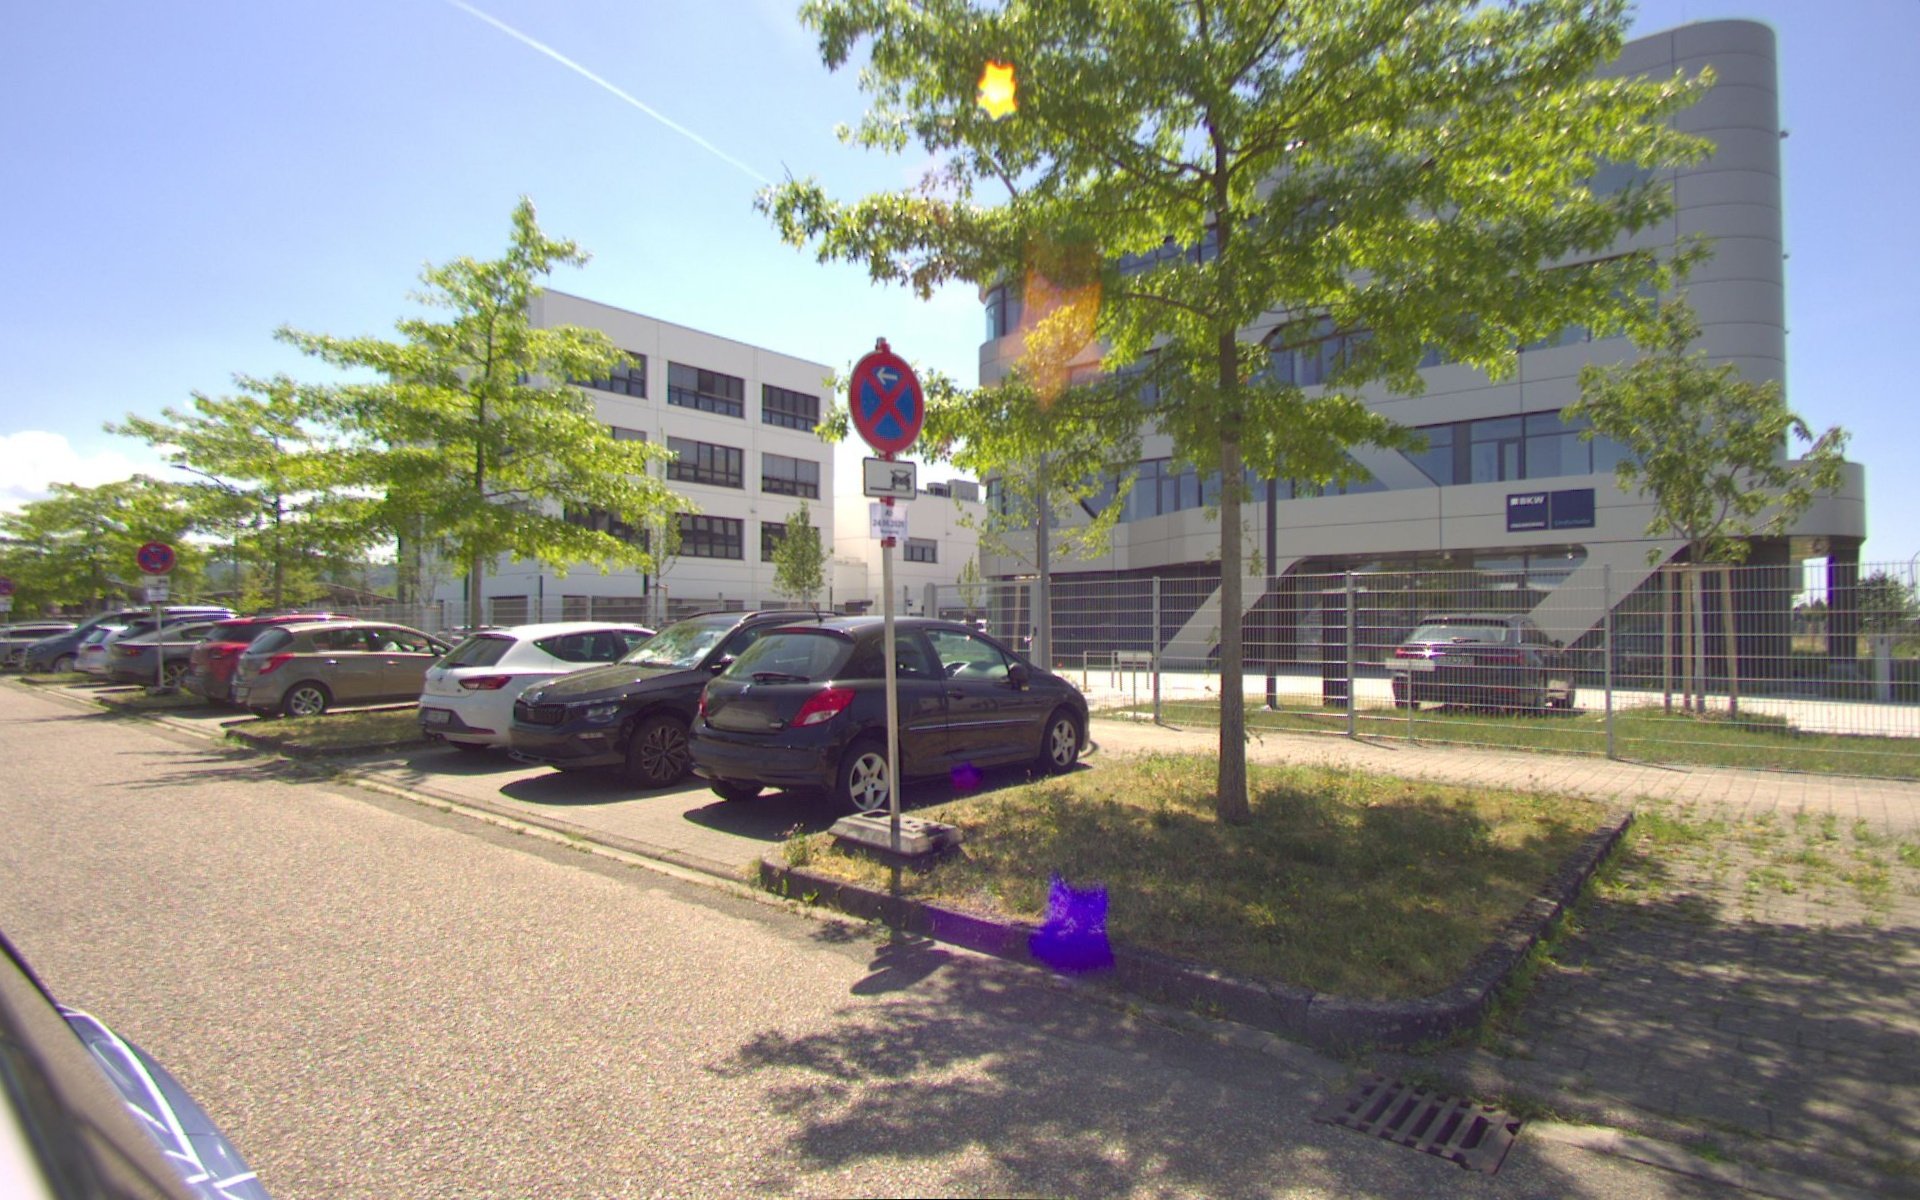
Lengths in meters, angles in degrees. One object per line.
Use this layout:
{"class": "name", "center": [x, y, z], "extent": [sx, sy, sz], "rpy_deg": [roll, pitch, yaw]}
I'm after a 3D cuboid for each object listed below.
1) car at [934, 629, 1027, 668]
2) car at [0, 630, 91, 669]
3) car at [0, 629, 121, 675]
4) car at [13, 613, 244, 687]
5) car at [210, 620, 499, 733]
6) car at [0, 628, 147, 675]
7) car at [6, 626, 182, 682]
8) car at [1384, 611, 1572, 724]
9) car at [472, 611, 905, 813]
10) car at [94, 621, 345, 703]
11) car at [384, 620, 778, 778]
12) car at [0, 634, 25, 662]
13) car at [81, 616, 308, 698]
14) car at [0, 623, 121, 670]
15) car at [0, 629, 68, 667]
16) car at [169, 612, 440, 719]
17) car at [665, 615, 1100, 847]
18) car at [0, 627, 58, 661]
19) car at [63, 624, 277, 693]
{"class": "car", "center": [0.928, 2.236, 46.910], "extent": [3.997, 1.730, 1.973], "rpy_deg": [-2, -3, 41]}
{"class": "car", "center": [-39.978, 2.136, 43.260], "extent": [1.806, 1.524, 4.127], "rpy_deg": [-3, -1, 42]}
{"class": "car", "center": [-33.701, 1.900, 37.089], "extent": [1.725, 1.484, 4.269], "rpy_deg": [-2, -1, 38]}
{"class": "car", "center": [-24.324, 1.398, 29.764], "extent": [1.996, 1.906, 5.016], "rpy_deg": [-2, -1, 42]}
{"class": "car", "center": [-9.644, 1.135, 16.335], "extent": [1.728, 1.520, 3.623], "rpy_deg": [-2, -1, 37]}
{"class": "car", "center": [-31.800, 1.799, 35.657], "extent": [1.856, 1.458, 4.666], "rpy_deg": [-2, -1, 39]}
{"class": "car", "center": [-26.647, 1.616, 31.232], "extent": [1.763, 1.495, 3.928], "rpy_deg": [-2, 0, 41]}
{"class": "car", "center": [7.493, 0.939, 14.501], "extent": [1.676, 1.401, 3.444], "rpy_deg": [-2, -4, 40]}
{"class": "car", "center": [-2.538, 0.930, 10.184], "extent": [1.783, 1.532, 3.888], "rpy_deg": [-1, 0, 40]}
{"class": "car", "center": [-16.106, 1.281, 22.181], "extent": [1.712, 1.491, 4.150], "rpy_deg": [-2, 0, 41]}
{"class": "car", "center": [-4.318, 1.018, 12.070], "extent": [1.870, 1.435, 4.038], "rpy_deg": [-1, 0, 37]}
{"class": "car", "center": [-50.908, 2.545, 52.409], "extent": [1.726, 1.452, 3.469], "rpy_deg": [-2, -1, 40]}
{"class": "car", "center": [-18.126, 1.286, 24.123], "extent": [1.773, 1.691, 3.952], "rpy_deg": [-2, 0, 36]}
{"class": "car", "center": [-35.262, 1.765, 39.203], "extent": [1.727, 1.647, 4.073], "rpy_deg": [-2, -1, 42]}
{"class": "car", "center": [-42.324, 2.138, 44.989], "extent": [1.725, 1.604, 3.802], "rpy_deg": [-2, -1, 38]}
{"class": "car", "center": [-11.566, 1.068, 18.023], "extent": [1.816, 1.633, 3.698], "rpy_deg": [-2, -1, 41]}
{"class": "car", "center": [-0.472, 0.900, 8.617], "extent": [1.724, 1.446, 3.591], "rpy_deg": [-1, 0, 38]}
{"class": "car", "center": [-46.907, 2.193, 49.636], "extent": [1.728, 1.604, 3.862], "rpy_deg": [-2, -1, 44]}
{"class": "car", "center": [-19.890, 1.405, 25.614], "extent": [1.602, 1.472, 3.999], "rpy_deg": [-2, 0, 38]}
